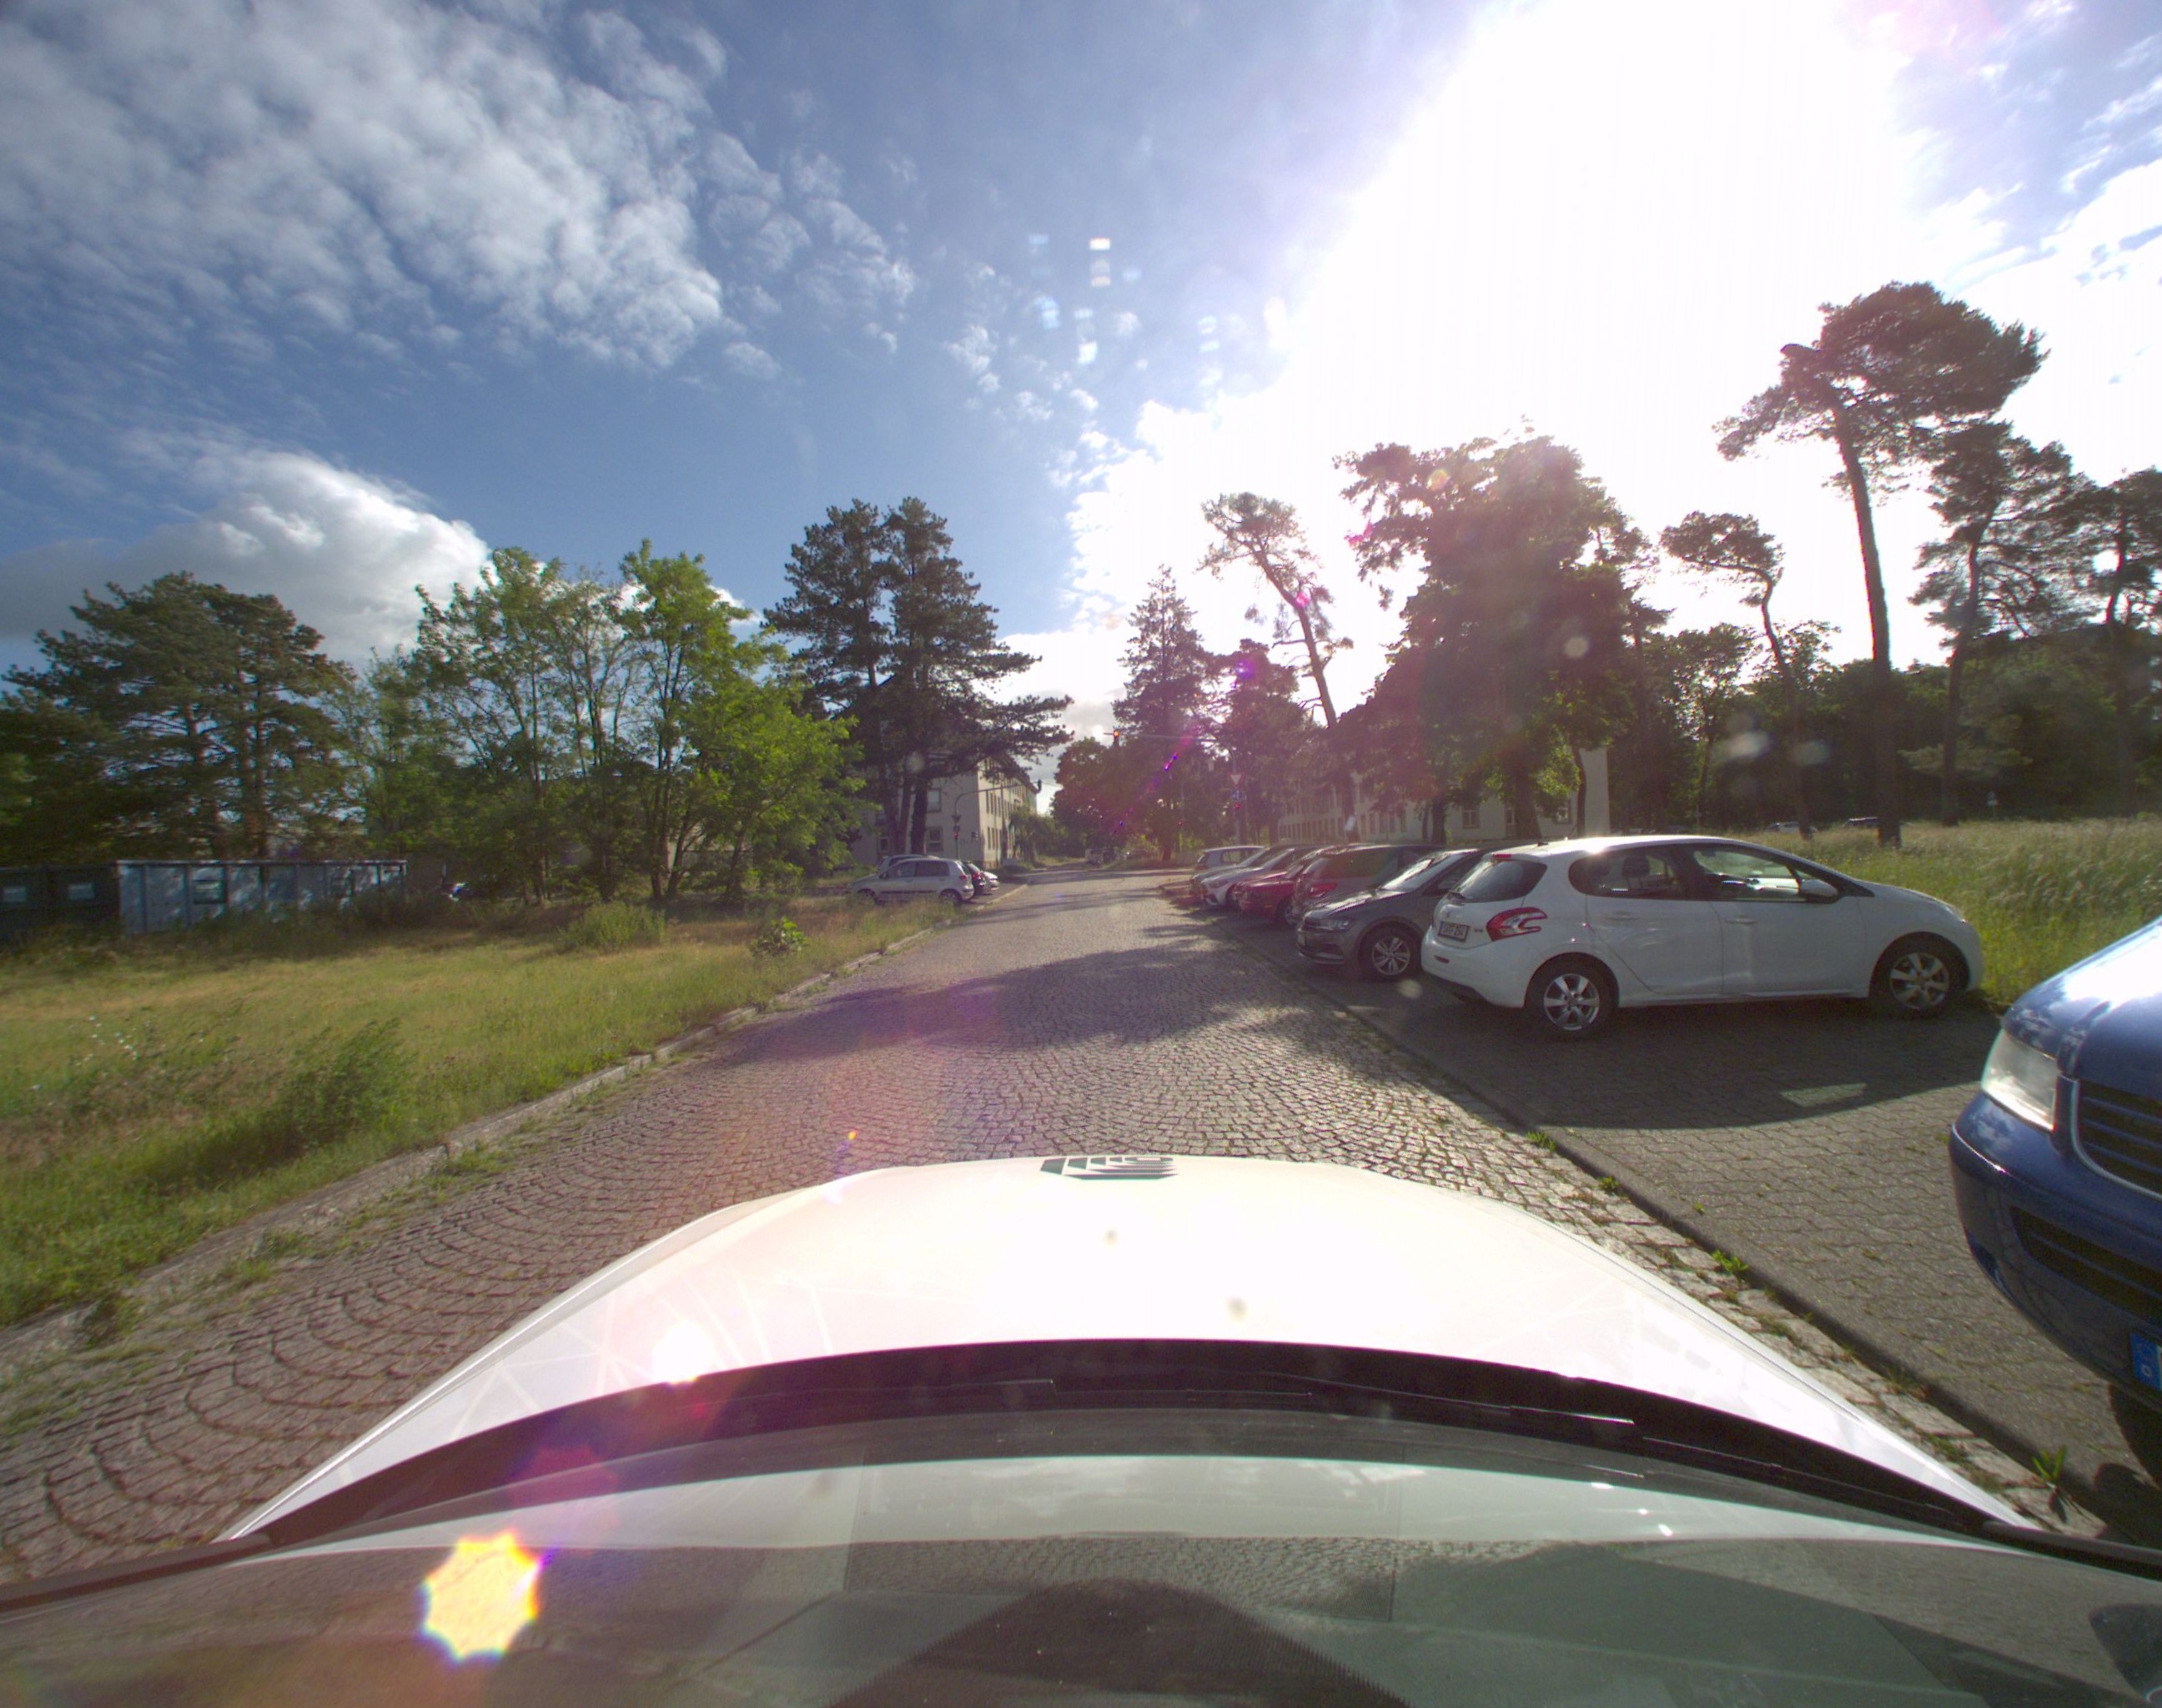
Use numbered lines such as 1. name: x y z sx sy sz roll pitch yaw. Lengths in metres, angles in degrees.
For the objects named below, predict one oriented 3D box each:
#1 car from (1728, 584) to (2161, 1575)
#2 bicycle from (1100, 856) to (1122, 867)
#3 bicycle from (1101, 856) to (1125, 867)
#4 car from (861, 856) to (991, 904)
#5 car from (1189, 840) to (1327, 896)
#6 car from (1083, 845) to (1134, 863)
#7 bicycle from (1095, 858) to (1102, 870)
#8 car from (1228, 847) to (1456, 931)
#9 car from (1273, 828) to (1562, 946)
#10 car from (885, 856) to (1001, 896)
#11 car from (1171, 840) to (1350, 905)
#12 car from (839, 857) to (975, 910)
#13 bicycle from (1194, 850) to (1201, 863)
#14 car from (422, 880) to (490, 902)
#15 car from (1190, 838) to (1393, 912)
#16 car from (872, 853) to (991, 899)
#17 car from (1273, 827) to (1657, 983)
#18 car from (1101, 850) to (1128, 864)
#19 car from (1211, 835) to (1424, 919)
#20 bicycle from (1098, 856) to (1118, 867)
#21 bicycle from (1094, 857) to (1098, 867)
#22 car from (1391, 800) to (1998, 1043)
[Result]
1. car: 4.410 0.303 1.545 4.682 1.935 2.000 -4 0 0
2. bicycle: 2.805 0.690 75.883 2.002 1.010 0.630 0 -1 -7
3. bicycle: 2.930 0.675 74.168 2.107 1.010 0.619 0 -1 -7
4. car: -5.084 0.825 27.071 3.976 1.480 1.802 0 0 -2
5. car: 5.407 0.414 25.168 3.868 1.415 1.637 -4 0 1
6. car: 3.117 -0.018 92.292 5.535 2.014 1.988 0 -1 -17
7. bicycle: 1.512 0.838 70.582 0.466 1.010 1.584 0 -1 -2
8. car: 4.766 0.610 15.275 3.693 1.223 1.747 -4 0 1
9. car: 5.072 0.470 12.668 3.694 1.449 1.817 -4 0 1
10. car: -5.394 0.859 32.259 4.322 1.468 1.829 0 0 -2
11. car: 4.861 0.480 22.476 4.543 1.415 1.637 -4 0 1
12. car: -5.141 0.856 24.400 3.736 1.487 1.645 0 0 -2
13. bicycle: 8.867 0.169 61.987 0.300 0.961 1.584 0 -1 -2
14. car: -46.954 2.788 61.312 1.895 1.433 4.002 -2 -1 2
15. car: 4.989 0.484 19.756 4.415 1.415 1.781 -4 0 1
16. car: -5.446 0.778 30.038 4.069 1.593 1.884 0 0 -2
17. car: 4.400 0.552 9.808 3.693 1.449 1.857 -4 0 1
18. car: 3.593 0.332 88.641 2.776 1.467 1.669 0 -1 -4
19. car: 5.020 0.476 17.672 4.112 1.449 1.637 -4 0 1
20. bicycle: 2.595 0.705 77.642 1.835 1.010 0.634 0 -1 -7
21. bicycle: 1.520 0.794 83.843 0.416 1.010 1.484 0 -1 2
22. car: 4.809 0.489 6.835 3.693 1.534 1.762 -4 0 1
